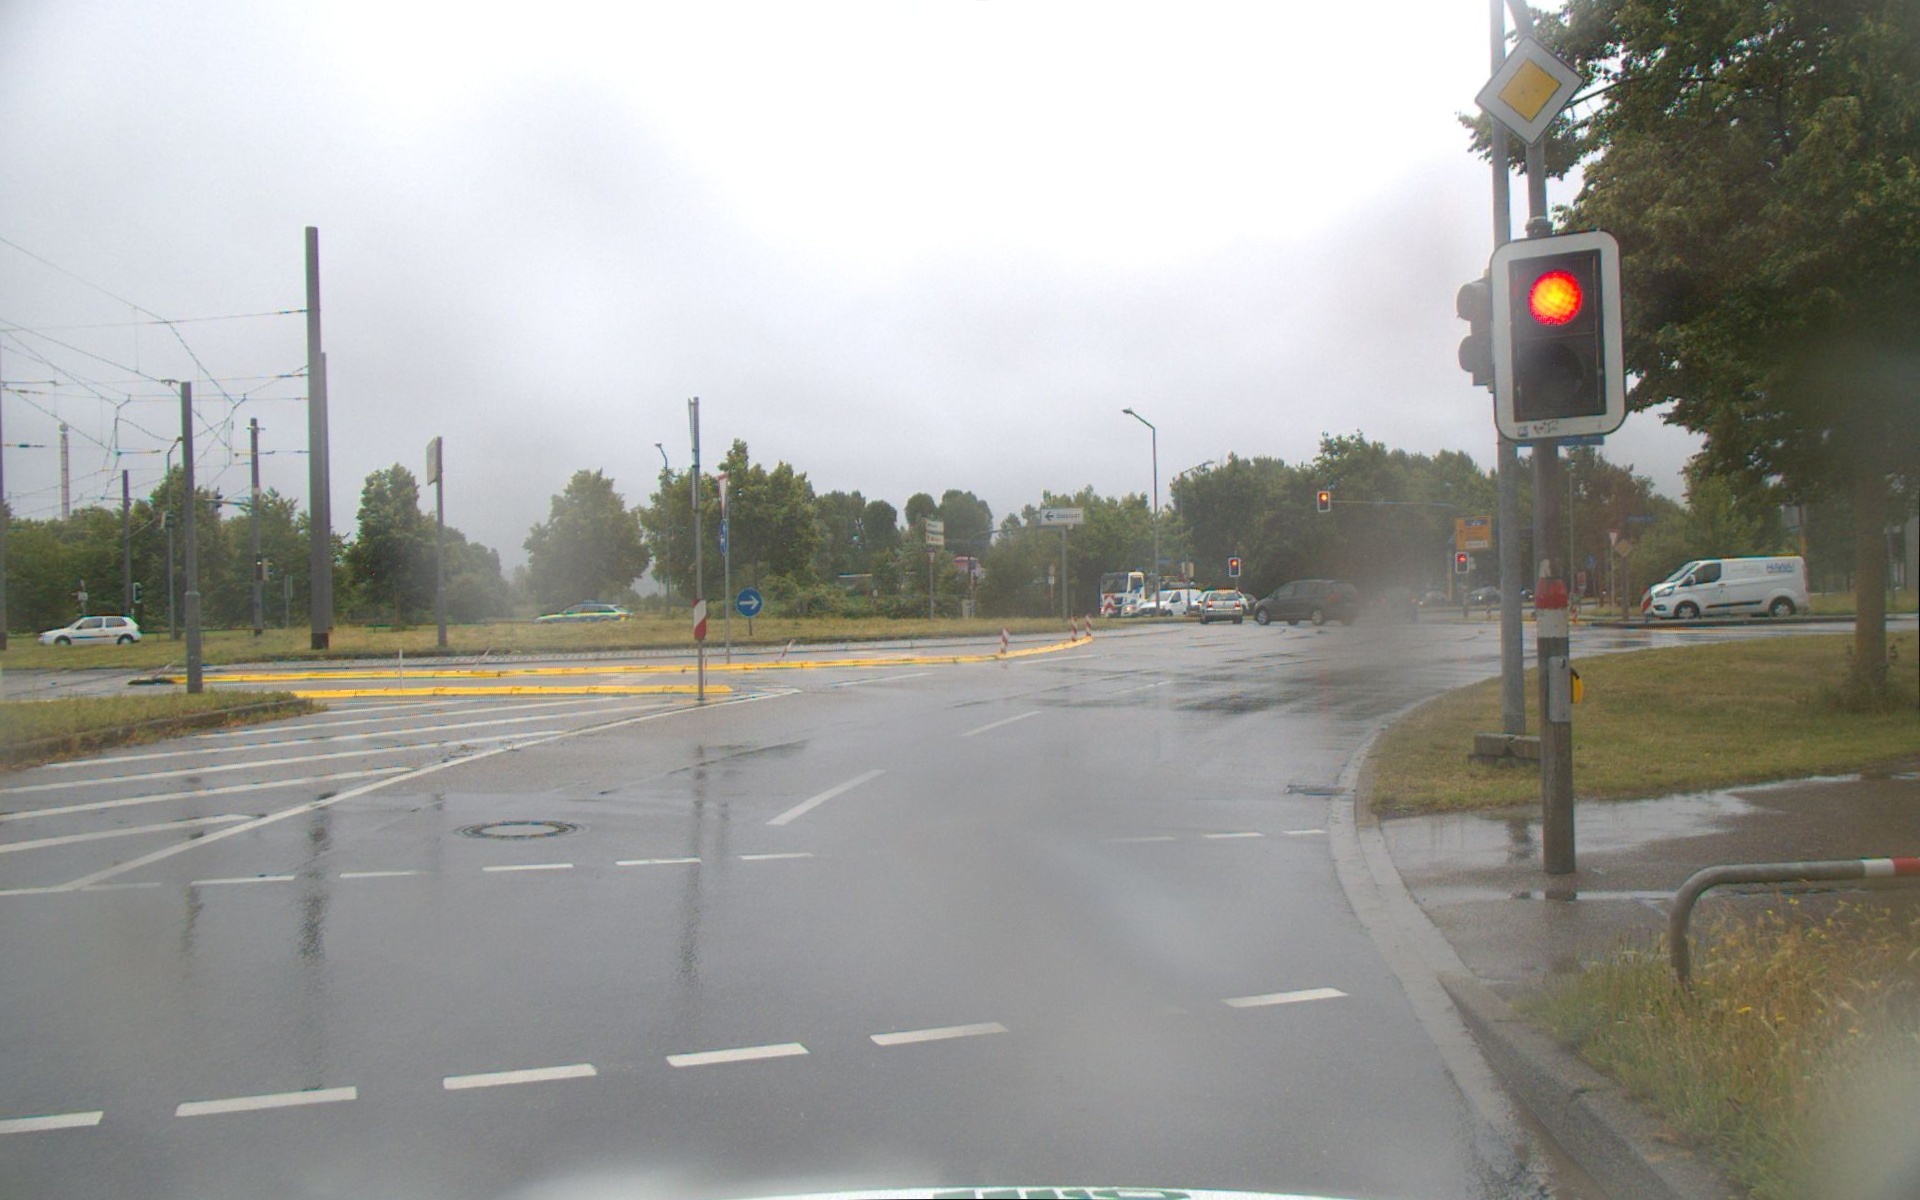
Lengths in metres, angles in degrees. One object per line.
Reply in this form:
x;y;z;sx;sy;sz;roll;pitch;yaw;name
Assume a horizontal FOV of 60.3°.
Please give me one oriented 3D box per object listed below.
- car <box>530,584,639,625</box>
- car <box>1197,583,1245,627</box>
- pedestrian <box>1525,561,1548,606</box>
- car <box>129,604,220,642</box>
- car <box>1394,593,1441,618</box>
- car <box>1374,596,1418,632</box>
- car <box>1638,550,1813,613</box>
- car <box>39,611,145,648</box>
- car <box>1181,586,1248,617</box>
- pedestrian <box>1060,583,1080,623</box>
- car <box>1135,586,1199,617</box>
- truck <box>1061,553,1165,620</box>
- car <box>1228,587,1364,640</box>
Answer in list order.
-17.900;0.204;78.944;4.658;1.883;2.002;-1;0;9;car
11.694;0.272;74.363;1.951;1.884;4.779;1;-1;7;car
24.950;-0.722;71.645;0.799;1.901;0.668;1;-1;7;pedestrian
-40.142;1.200;84.621;1.644;1.848;3.994;1;-1;28;car
32.786;0.370;118.471;1.769;1.691;3.978;0;-1;40;car
18.775;0.583;71.356;1.583;1.479;3.991;-1;0;11;car
24.354;-0.591;52.765;4.659;1.884;2.001;1;-1;8;car
-37.808;1.260;72.085;3.940;1.479;1.604;-1;0;-34;car
14.595;0.114;94.819;1.769;1.691;4.386;0;-1;40;car
3.615;0.095;54.392;0.445;1.327;0.484;-1;0;38;pedestrian
12.055;0.086;96.297;1.769;1.691;4.112;0;-1;40;car
6.980;-0.541;74.213;2.411;2.733;8.058;1;-1;22;truck
12.452;0.491;61.487;1.984;1.884;4.700;2;-1;-43;car
